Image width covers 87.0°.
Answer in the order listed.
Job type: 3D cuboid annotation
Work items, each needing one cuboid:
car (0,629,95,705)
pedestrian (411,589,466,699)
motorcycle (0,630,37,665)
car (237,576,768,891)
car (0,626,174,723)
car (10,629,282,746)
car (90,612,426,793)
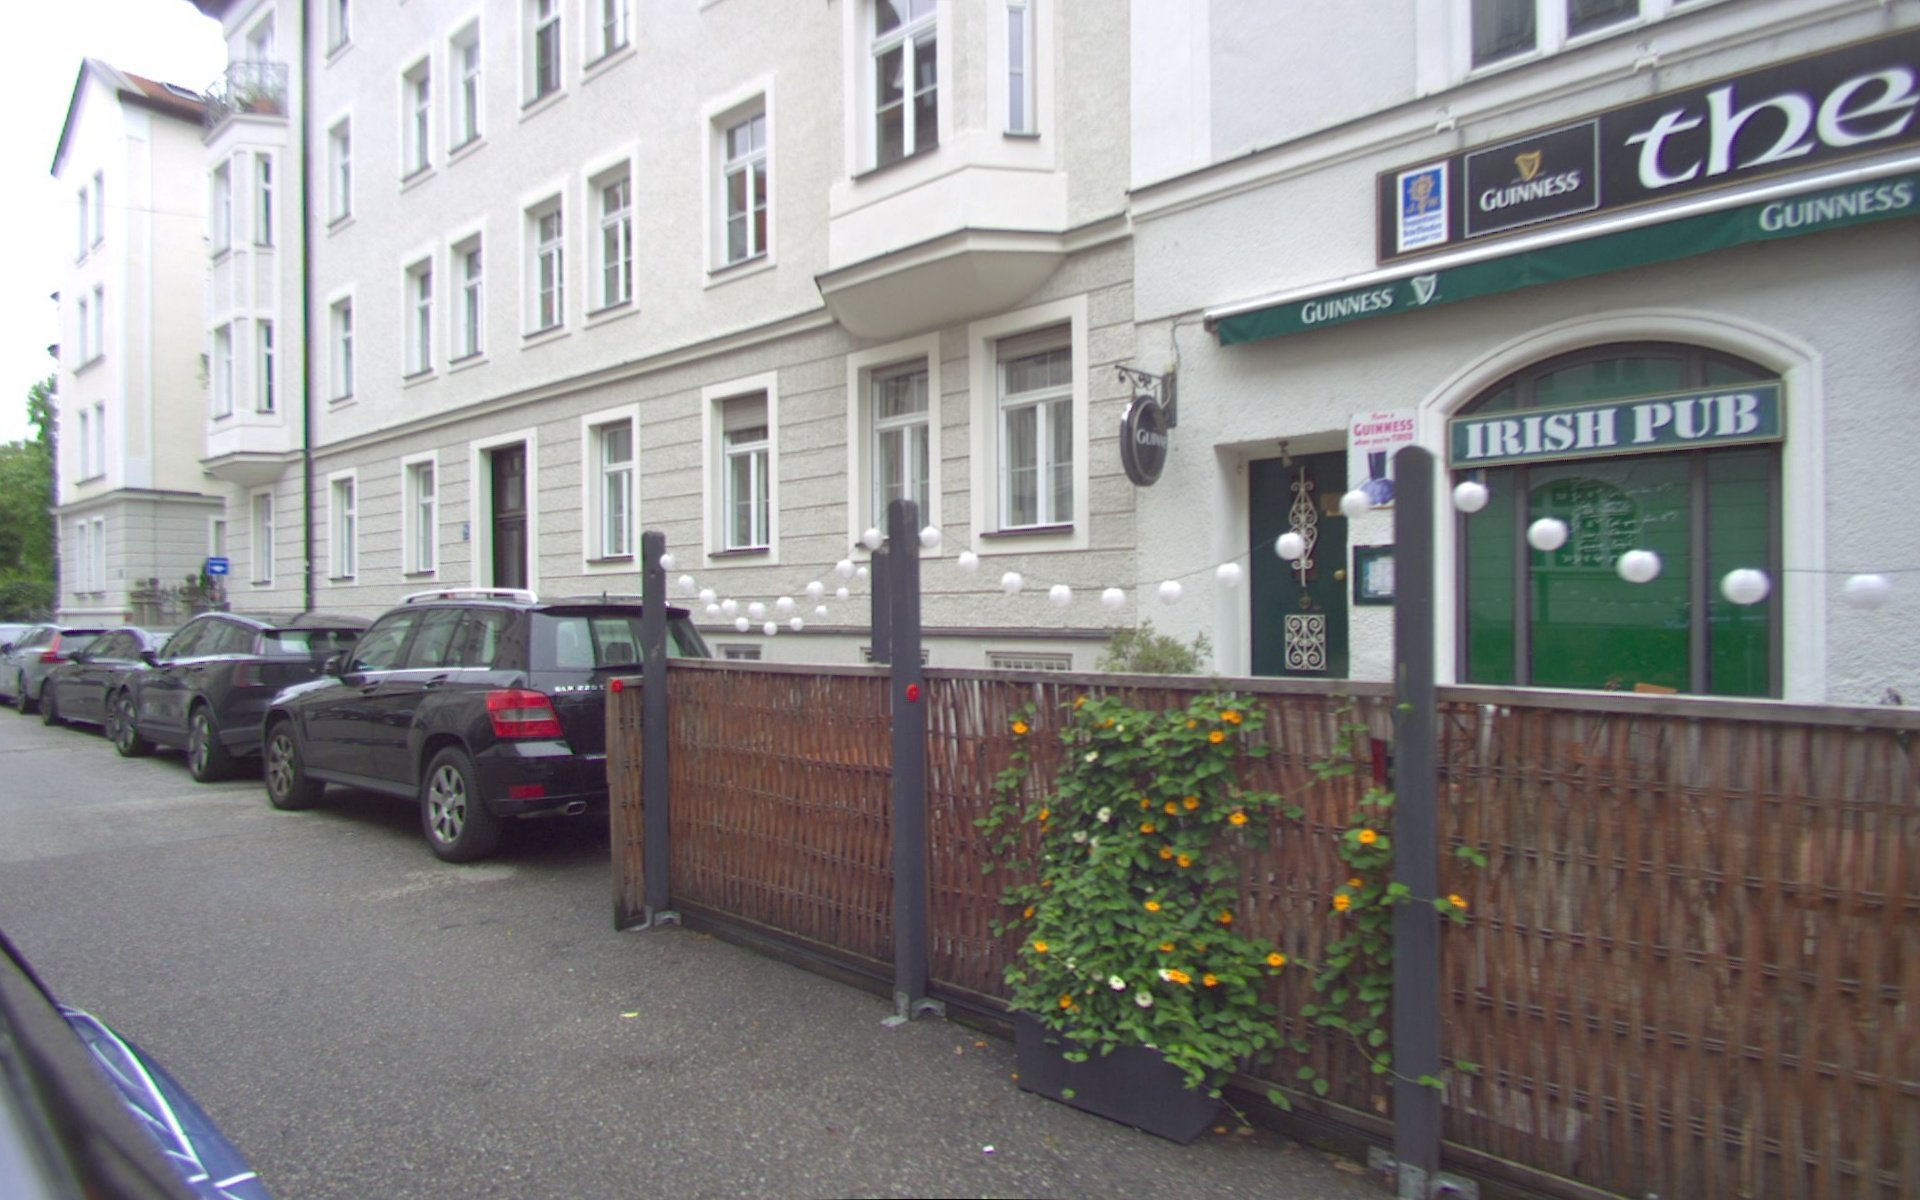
[{"bbox_3d":[-19.422,1.298,20.541,4.693,1.377,1.833,-1,-1,36],"label":"car"},{"bbox_3d":[-8.376,0.688,16.277,0.654,1.720,0.702,-1,-1,-18],"label":"pedestrian"},{"bbox_3d":[-35.823,1.784,38.490,1.818,1.259,0.698,0,1,37],"label":"motorcycle"},{"bbox_3d":[-3.518,0.802,7.450,4.269,1.686,1.729,-2,-4,38],"label":"car"},{"bbox_3d":[-15.150,1.183,17.220,4.505,1.430,1.777,-1,-3,39],"label":"car"},{"bbox_3d":[-11.435,1.115,14.125,4.433,1.396,1.795,-1,-2,35],"label":"car"},{"bbox_3d":[-7.363,0.904,10.460,4.175,1.498,1.725,-1,-1,38],"label":"car"}]
